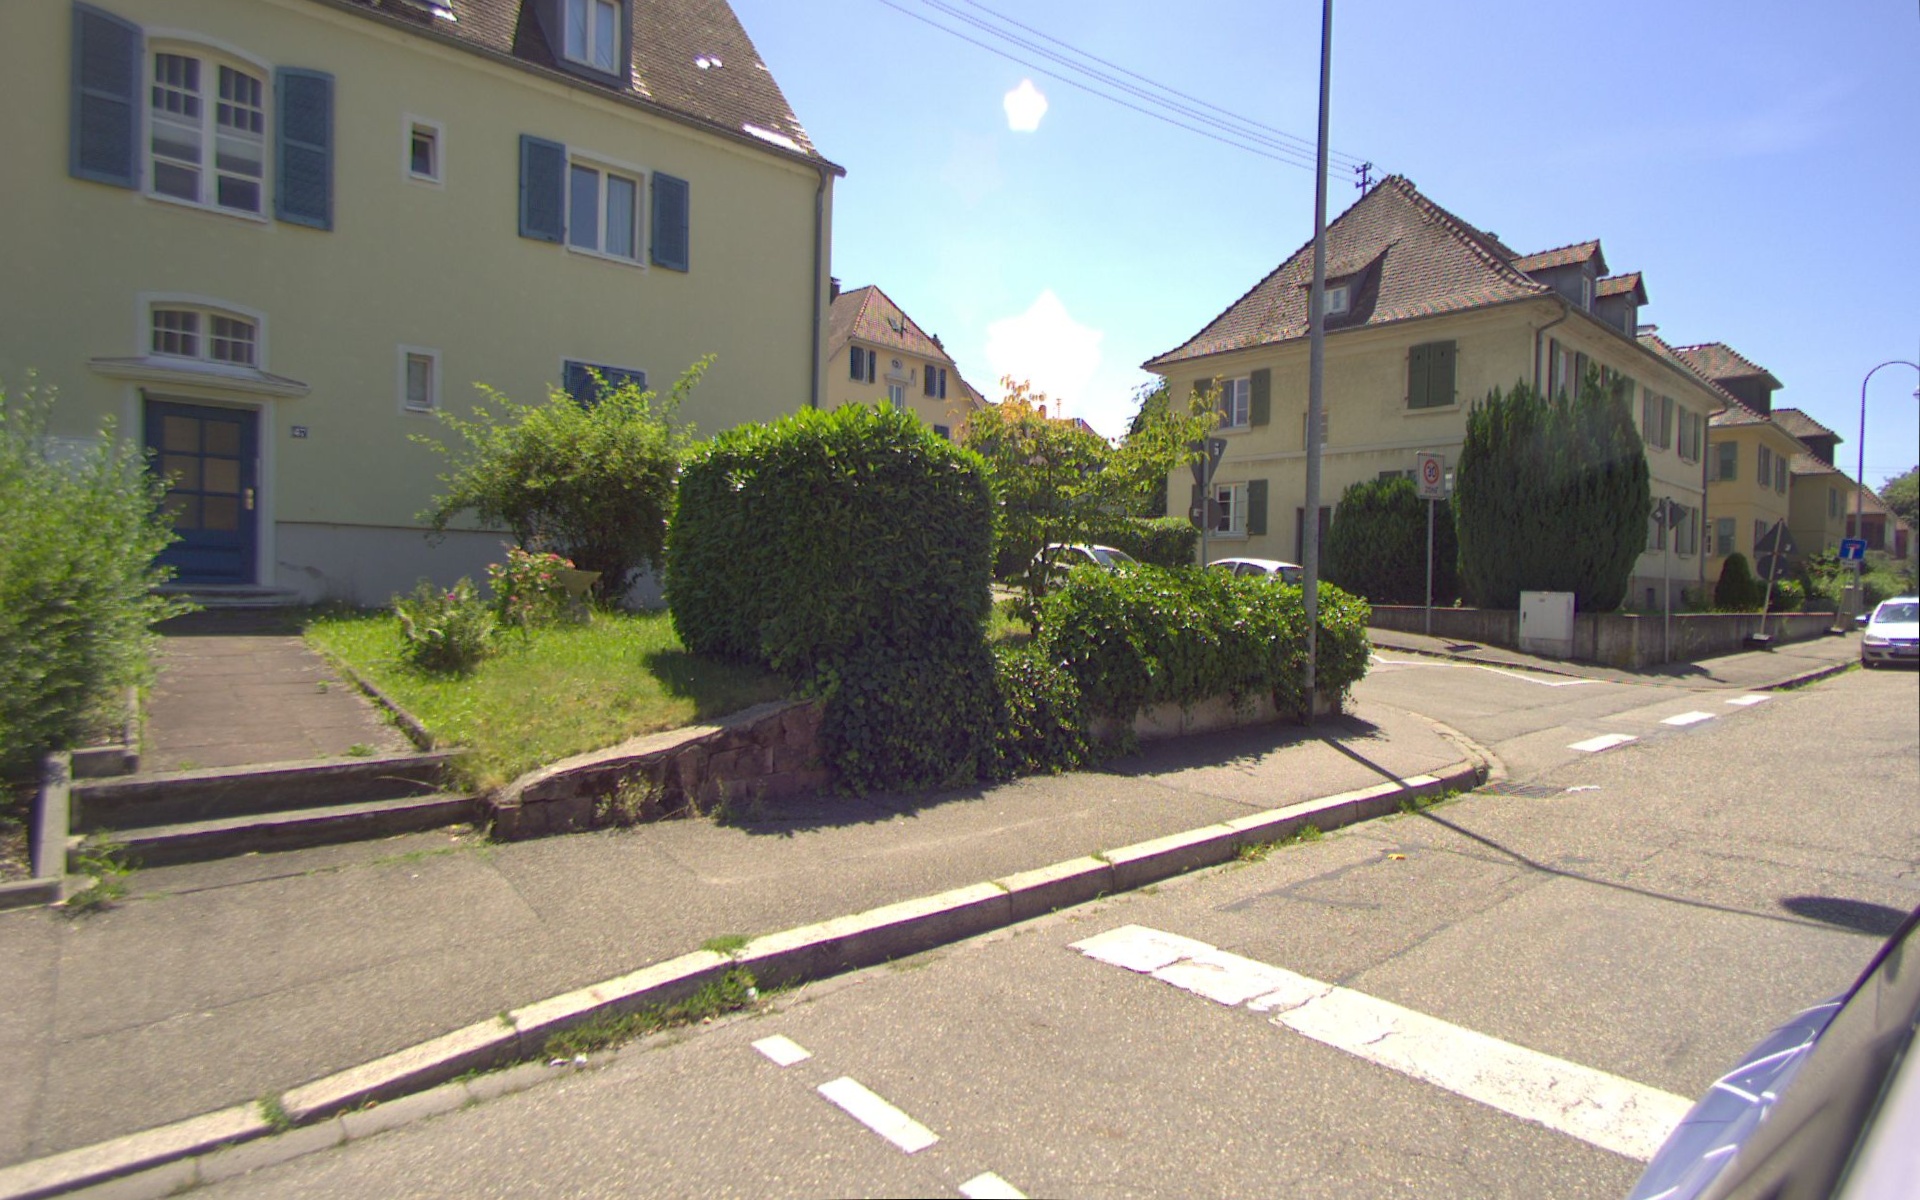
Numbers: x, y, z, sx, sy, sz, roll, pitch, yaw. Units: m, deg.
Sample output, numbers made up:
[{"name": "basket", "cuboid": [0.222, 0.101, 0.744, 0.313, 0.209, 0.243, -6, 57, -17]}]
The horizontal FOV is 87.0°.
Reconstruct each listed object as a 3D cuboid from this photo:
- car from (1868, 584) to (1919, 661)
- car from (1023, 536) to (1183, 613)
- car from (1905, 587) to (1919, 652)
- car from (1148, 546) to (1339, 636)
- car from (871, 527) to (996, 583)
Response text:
[{"name": "car", "cuboid": [20.225, 0.424, 21.067, 3.934, 1.484, 1.667, -1, 0, -44]}, {"name": "car", "cuboid": [3.205, -0.634, 23.282, 1.582, 1.470, 3.516, 0, 6, -37]}, {"name": "car", "cuboid": [23.767, 0.409, 24.044, 3.933, 1.454, 1.668, -1, 0, -43]}, {"name": "car", "cuboid": [5.627, -0.248, 20.412, 1.582, 1.470, 3.420, 0, 6, -35]}, {"name": "car", "cuboid": [-0.820, -1.322, 28.975, 1.668, 1.470, 3.838, 0, 4, -36]}]
